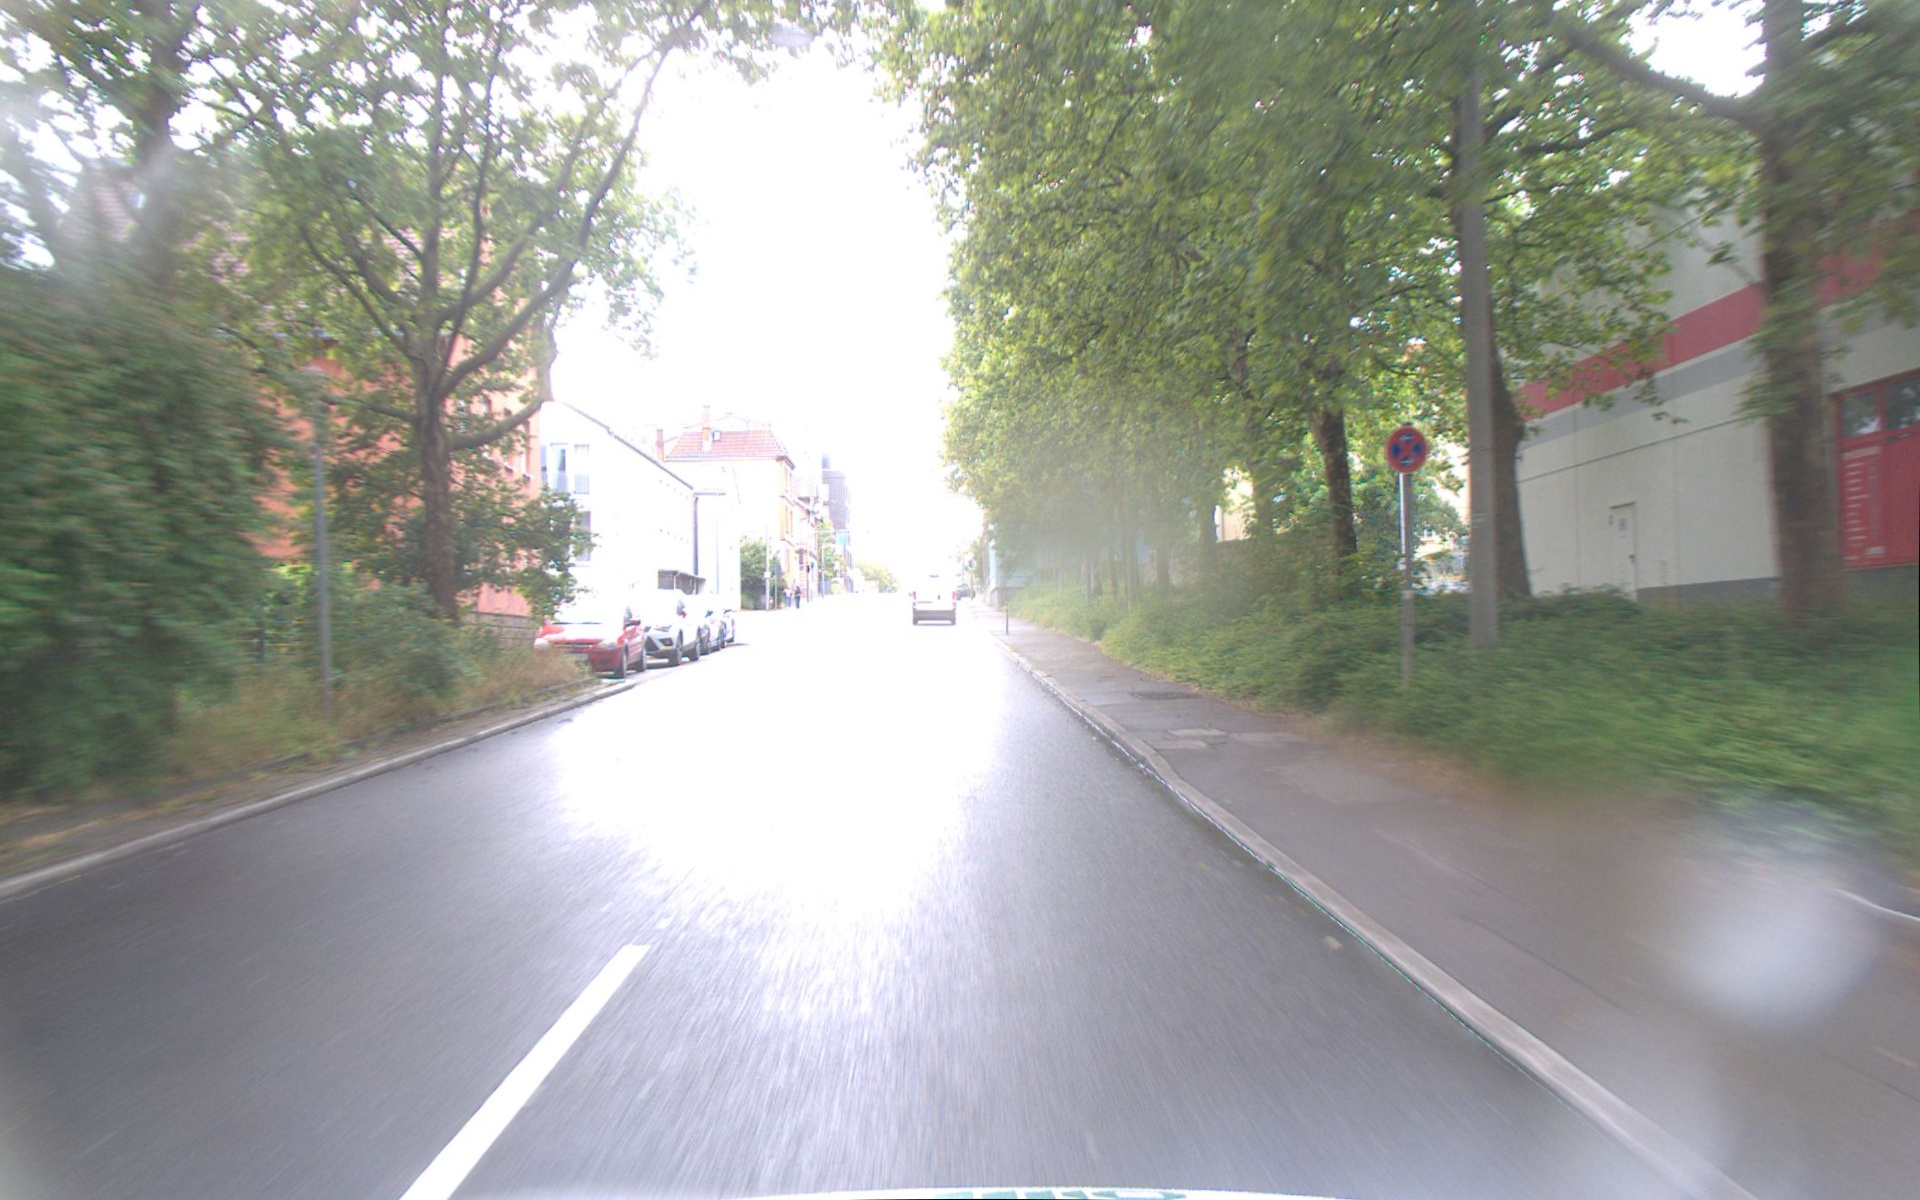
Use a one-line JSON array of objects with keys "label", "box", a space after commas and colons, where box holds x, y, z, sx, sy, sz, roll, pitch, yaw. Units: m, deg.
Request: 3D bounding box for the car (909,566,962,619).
[{"label": "car", "box": [-1.113, -0.303, 75.690, 2.288, 2.270, 3.999, -1, -1, 0]}]

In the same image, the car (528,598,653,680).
[{"label": "car", "box": [-6.680, 0.659, 30.225, 1.606, 1.397, 3.757, 0, 0, -3]}]

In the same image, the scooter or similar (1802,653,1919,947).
[{"label": "scooter or similar", "box": [4.005, 0.797, 6.631, 0.417, 1.162, 1.528, 1, -2, -3]}]

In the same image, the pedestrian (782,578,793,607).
[{"label": "pedestrian", "box": [-12.631, -0.544, 120.889, 0.657, 2.049, 0.942, 0, 0, 3]}]

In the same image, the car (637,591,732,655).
[{"label": "car", "box": [-6.882, 0.548, 41.733, 1.708, 1.508, 4.385, -1, 0, -1]}]

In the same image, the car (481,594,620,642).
[{"label": "car", "box": [-13.903, 0.598, 56.324, 4.202, 1.489, 2.068, -1, 0, -1]}]

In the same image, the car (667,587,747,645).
[{"label": "car", "box": [-7.099, 0.440, 46.754, 1.601, 1.508, 4.358, 1, 0, -1]}]

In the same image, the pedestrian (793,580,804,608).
[{"label": "pedestrian", "box": [-11.837, -0.460, 120.880, 0.657, 2.049, 0.942, 0, 0, 3]}]

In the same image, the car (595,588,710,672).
[{"label": "car", "box": [-6.555, 0.589, 35.632, 1.657, 1.569, 4.117, -3, 1, -1]}]
